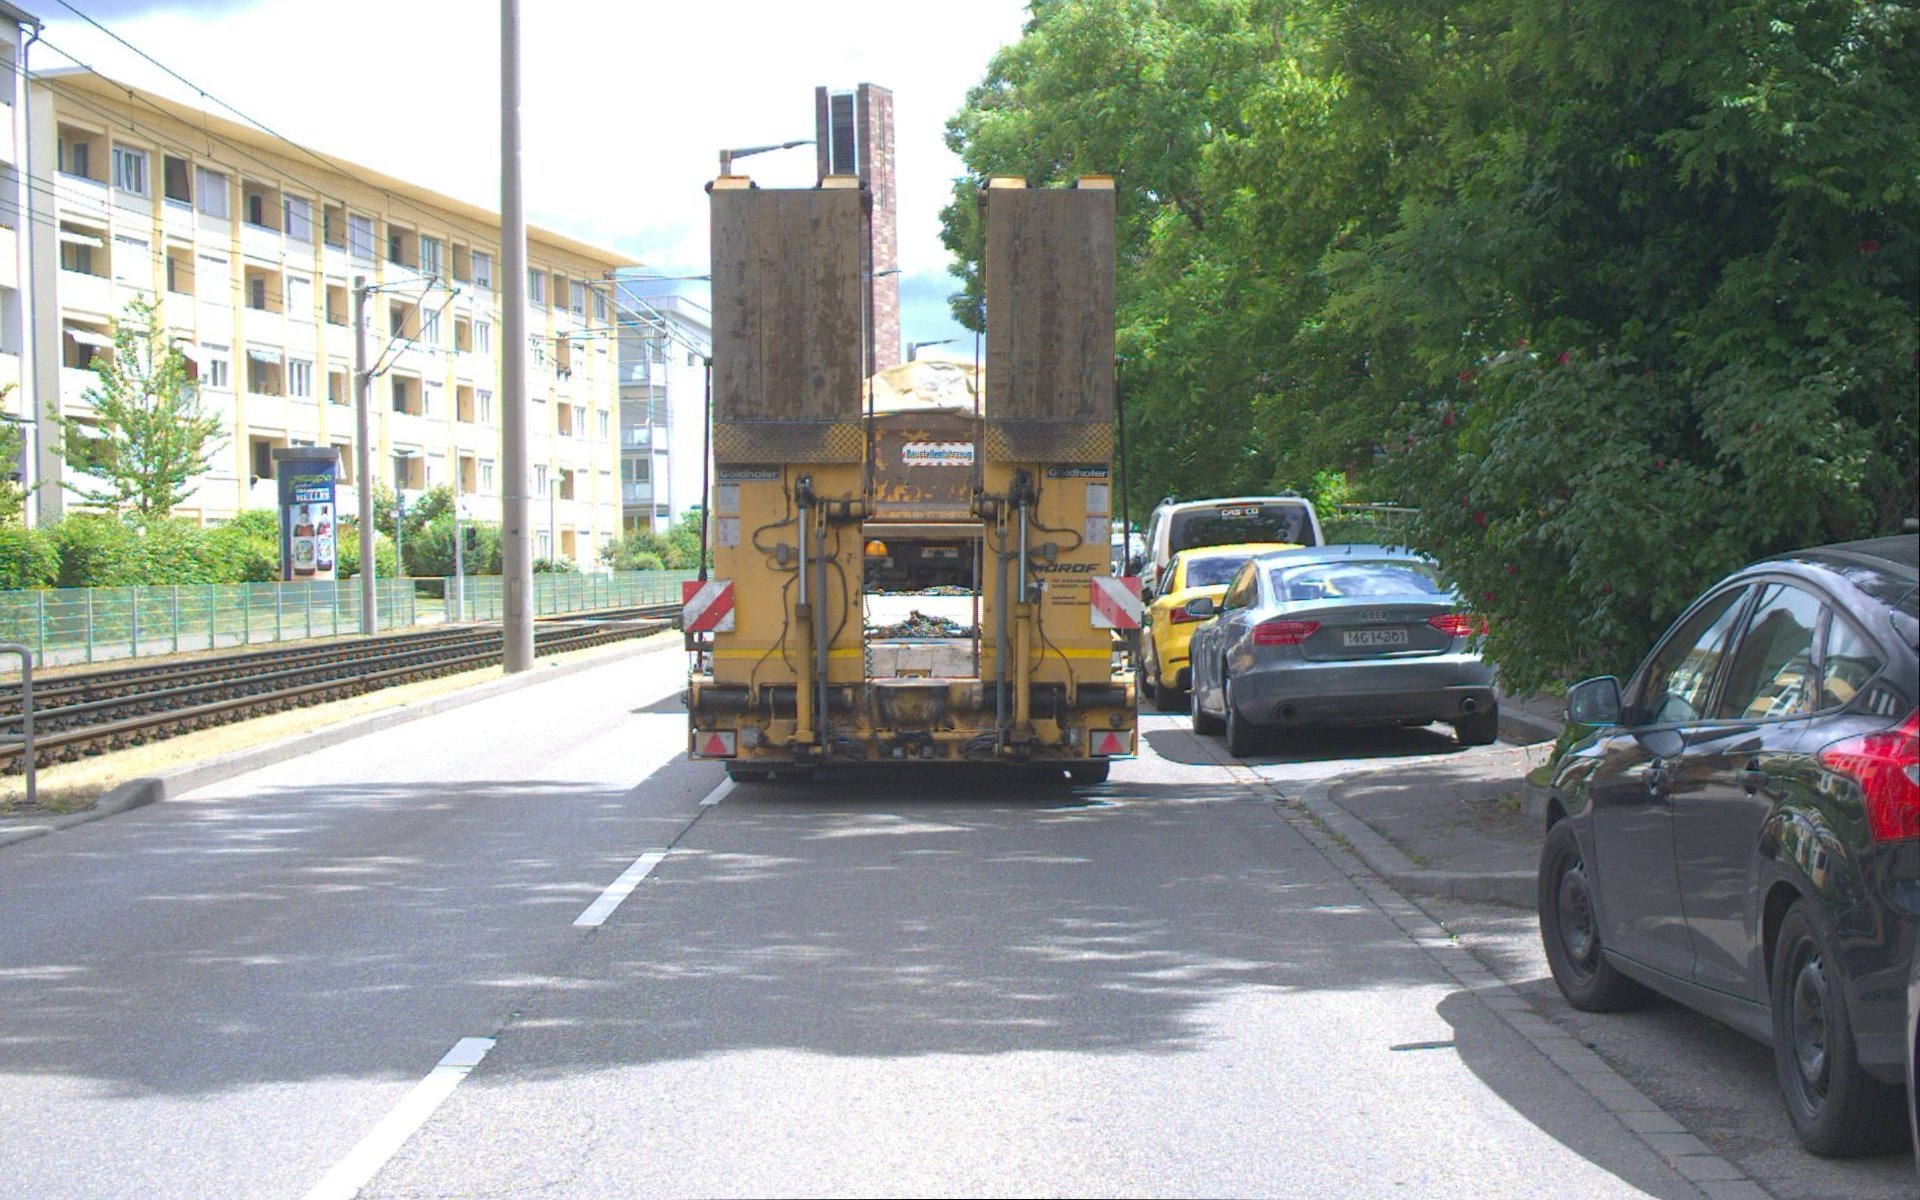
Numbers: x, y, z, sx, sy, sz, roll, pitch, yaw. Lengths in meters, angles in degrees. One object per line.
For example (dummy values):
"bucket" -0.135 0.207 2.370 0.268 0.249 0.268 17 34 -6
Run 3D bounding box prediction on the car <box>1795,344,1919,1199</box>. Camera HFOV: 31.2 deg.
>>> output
"car" 2.492 0.488 3.598 2.015 1.782 5.076 -2 1 1

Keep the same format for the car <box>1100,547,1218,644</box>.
"car" 3.187 -0.094 55.615 1.608 1.451 3.676 -2 1 -1

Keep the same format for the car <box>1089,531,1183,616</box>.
"car" 3.715 -0.570 71.965 1.824 1.676 4.575 -2 1 4

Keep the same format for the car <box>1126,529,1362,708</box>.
"car" 2.493 0.124 31.129 1.755 1.437 4.341 -2 1 0

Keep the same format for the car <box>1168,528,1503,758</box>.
"car" 2.569 0.248 24.514 1.755 1.437 4.494 -2 1 -1

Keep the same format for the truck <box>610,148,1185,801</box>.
"truck" -0.442 -0.788 25.155 3.124 3.552 12.460 -1 1 -1

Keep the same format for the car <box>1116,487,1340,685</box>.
"car" 2.842 -0.181 37.641 1.914 1.952 5.745 -2 1 0

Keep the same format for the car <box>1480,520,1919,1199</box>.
"car" 2.763 0.525 9.621 1.834 1.500 4.243 -2 1 -1

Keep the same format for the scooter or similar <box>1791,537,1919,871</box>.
"scooter or similar" 3.812 0.384 12.970 0.535 1.238 1.236 -3 2 -36
